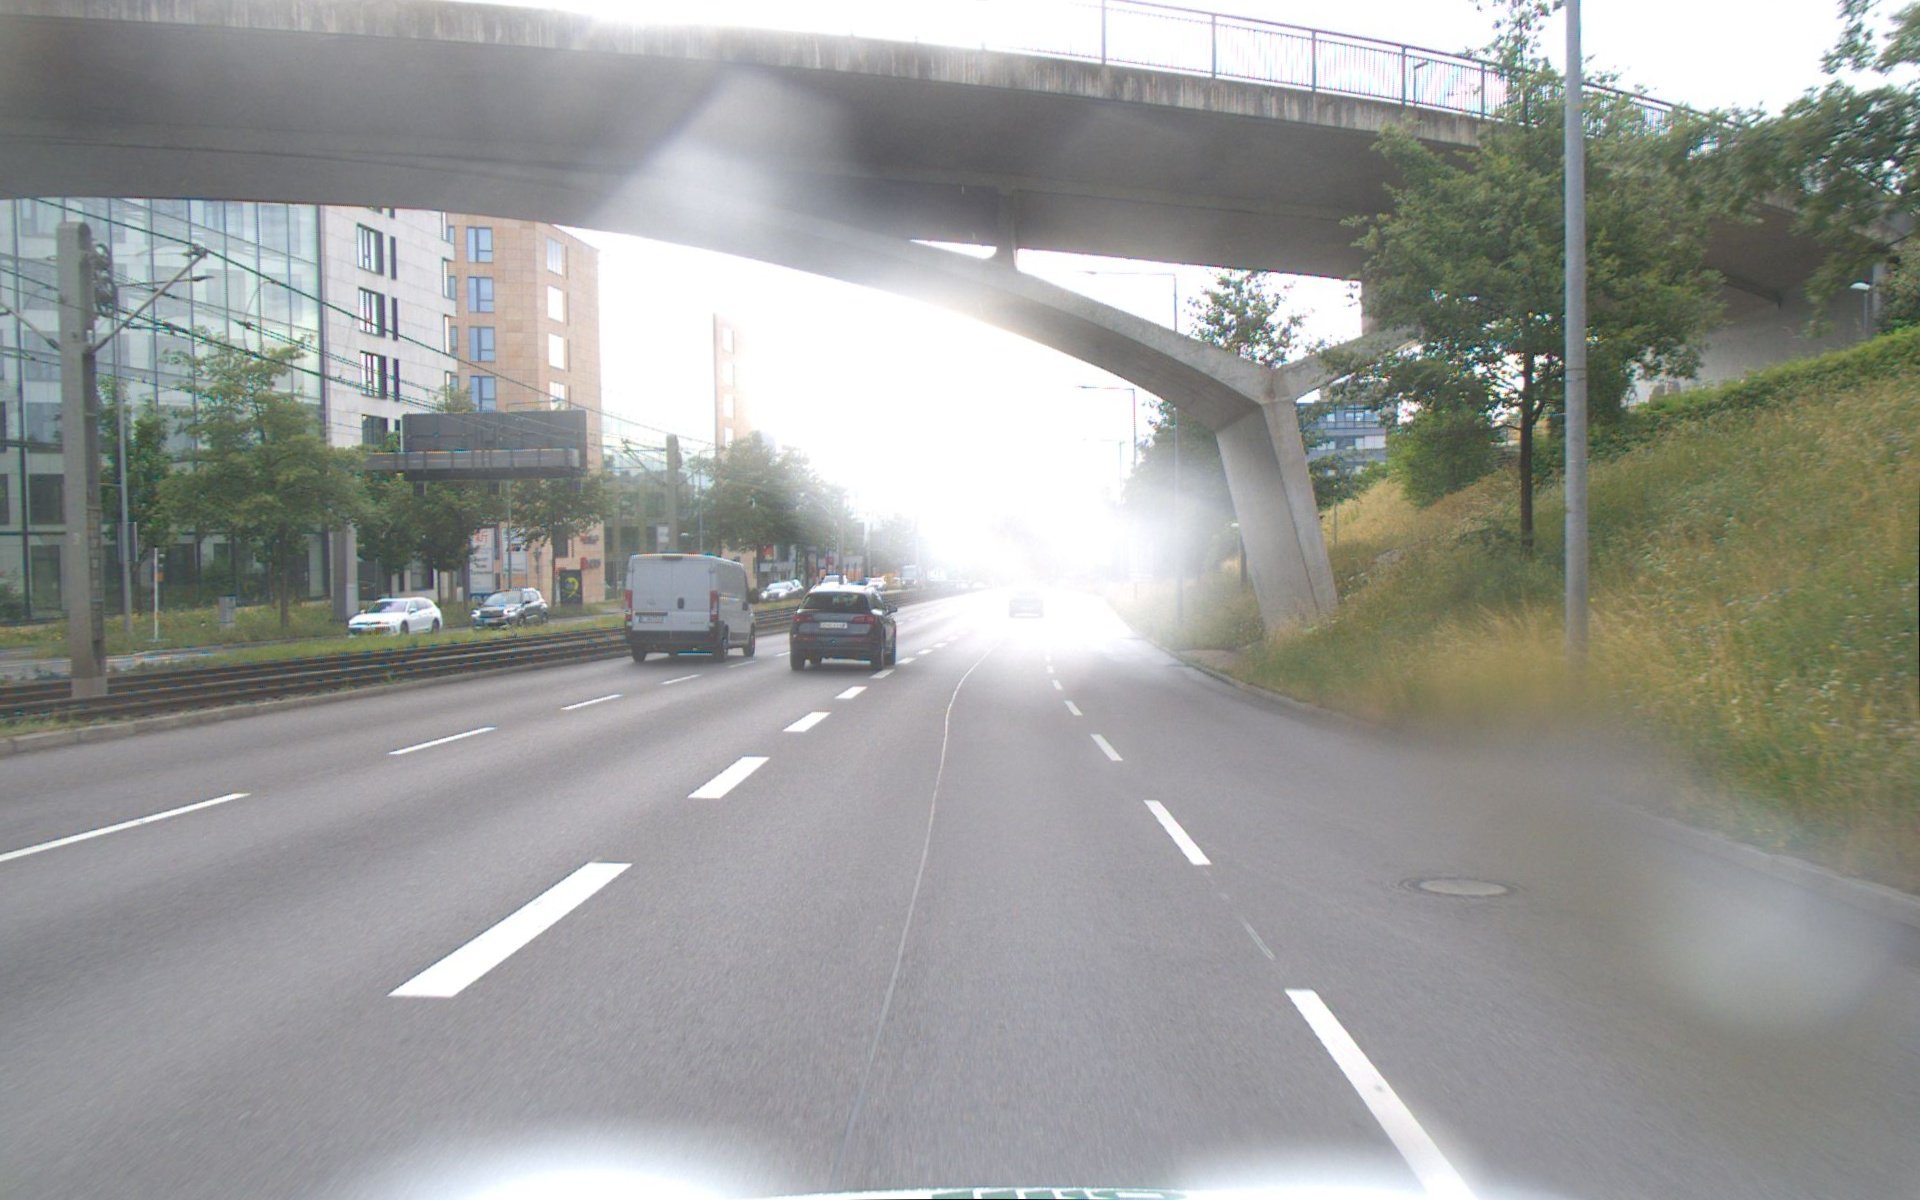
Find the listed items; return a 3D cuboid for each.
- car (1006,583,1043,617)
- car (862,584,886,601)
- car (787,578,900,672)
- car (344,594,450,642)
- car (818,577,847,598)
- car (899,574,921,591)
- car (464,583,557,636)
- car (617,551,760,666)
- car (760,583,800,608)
[{"bbox_3d":[3.174,-0.004,82.374,1.752,1.619,4.001,-1,0,1],"label":"car"},{"bbox_3d":[-9.286,-0.838,179.234,1.897,1.792,4.813,1,1,4],"label":"car"},{"bbox_3d":[-2.292,0.497,33.549,1.883,1.740,4.098,1,-1,1],"label":"car"},{"bbox_3d":[-19.834,0.614,58.476,1.880,1.523,4.659,1,1,3],"label":"car"},{"bbox_3d":[-11.533,-1.158,149.938,1.897,1.792,5.065,1,1,4],"label":"car"},{"bbox_3d":[-5.543,-1.971,183.647,1.897,1.792,4.813,1,1,4],"label":"car"},{"bbox_3d":[-16.225,0.318,59.927,1.880,1.807,4.227,1,1,5],"label":"car"},{"bbox_3d":[-5.901,0.136,36.605,2.221,2.324,4.761,1,1,2],"label":"car"},{"bbox_3d":[-12.165,-0.323,112.154,1.771,1.560,4.872,1,1,5],"label":"car"}]
